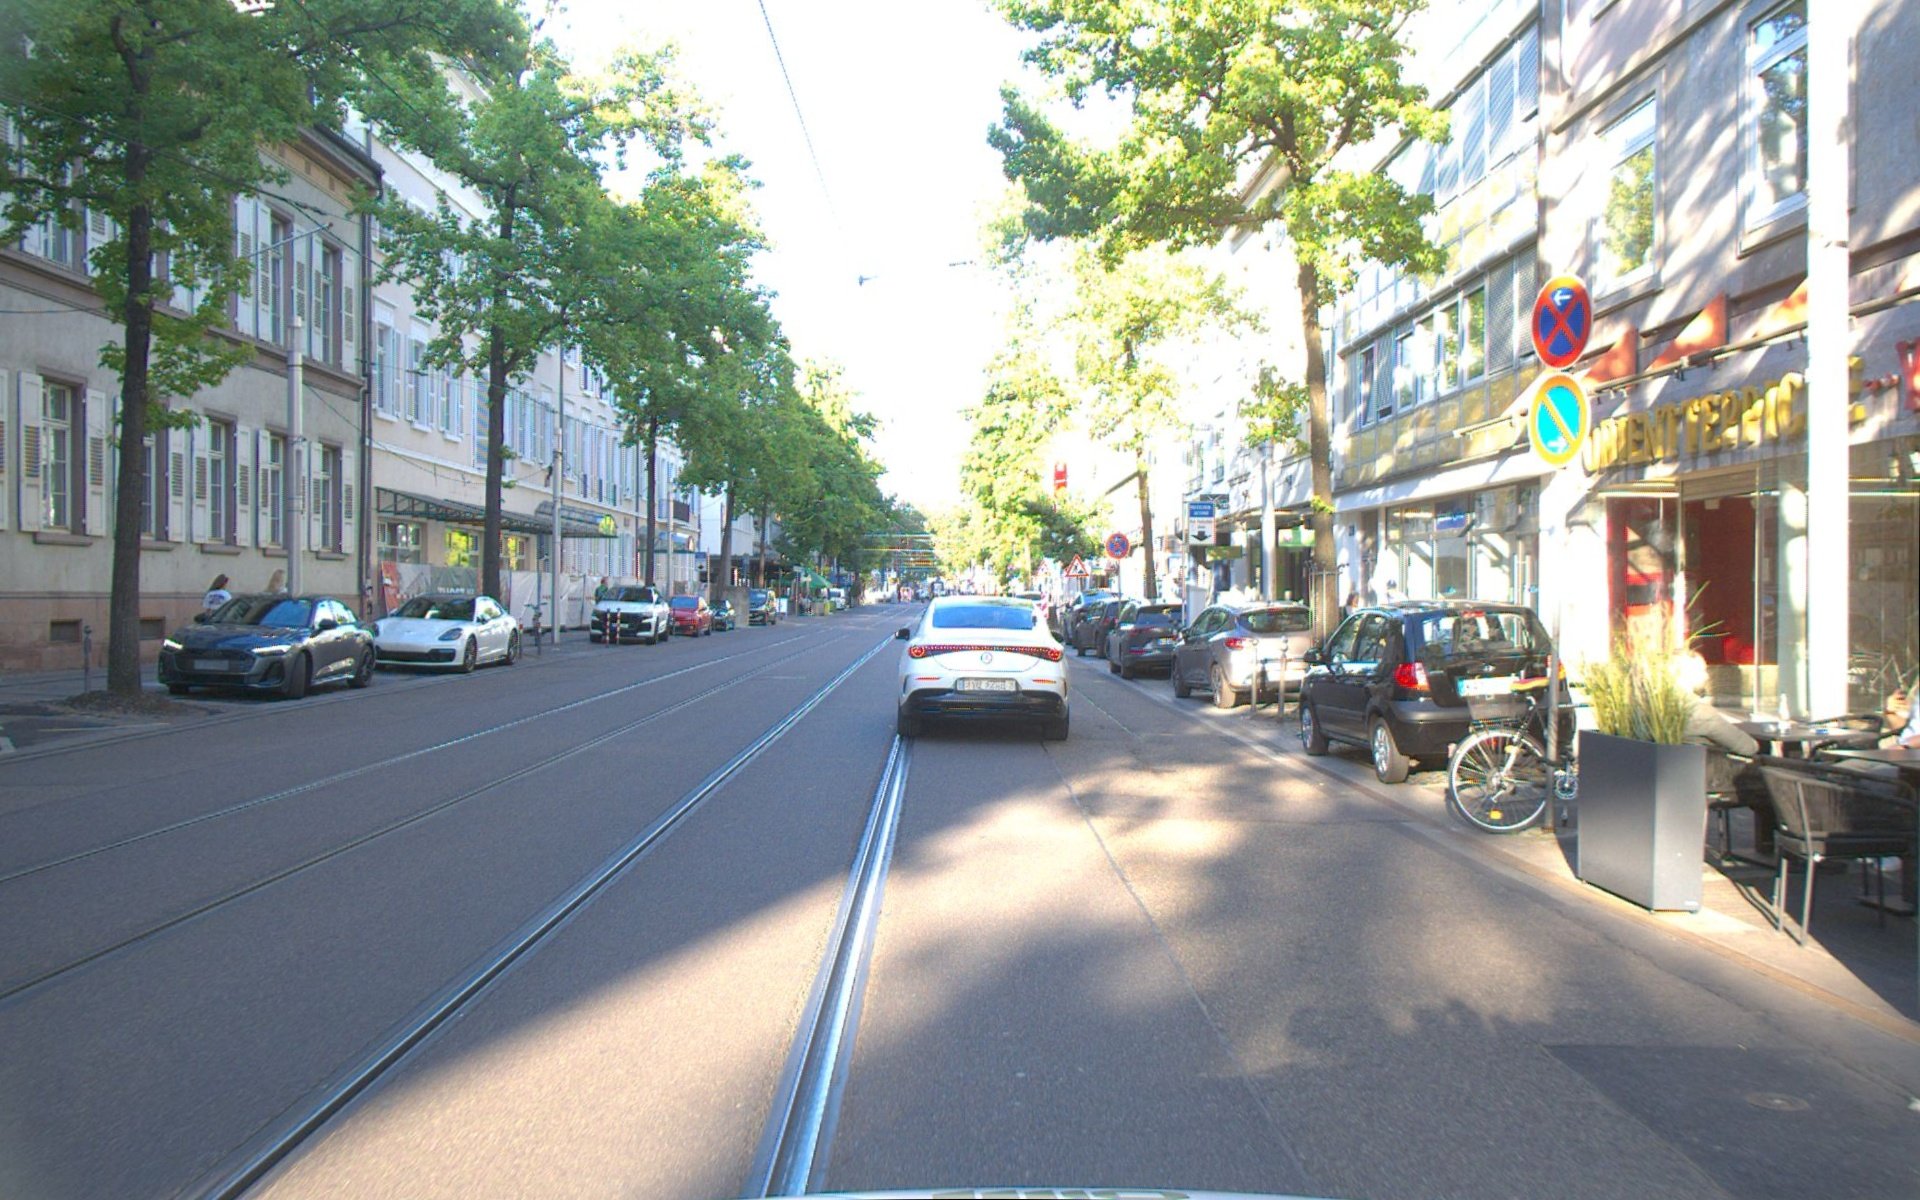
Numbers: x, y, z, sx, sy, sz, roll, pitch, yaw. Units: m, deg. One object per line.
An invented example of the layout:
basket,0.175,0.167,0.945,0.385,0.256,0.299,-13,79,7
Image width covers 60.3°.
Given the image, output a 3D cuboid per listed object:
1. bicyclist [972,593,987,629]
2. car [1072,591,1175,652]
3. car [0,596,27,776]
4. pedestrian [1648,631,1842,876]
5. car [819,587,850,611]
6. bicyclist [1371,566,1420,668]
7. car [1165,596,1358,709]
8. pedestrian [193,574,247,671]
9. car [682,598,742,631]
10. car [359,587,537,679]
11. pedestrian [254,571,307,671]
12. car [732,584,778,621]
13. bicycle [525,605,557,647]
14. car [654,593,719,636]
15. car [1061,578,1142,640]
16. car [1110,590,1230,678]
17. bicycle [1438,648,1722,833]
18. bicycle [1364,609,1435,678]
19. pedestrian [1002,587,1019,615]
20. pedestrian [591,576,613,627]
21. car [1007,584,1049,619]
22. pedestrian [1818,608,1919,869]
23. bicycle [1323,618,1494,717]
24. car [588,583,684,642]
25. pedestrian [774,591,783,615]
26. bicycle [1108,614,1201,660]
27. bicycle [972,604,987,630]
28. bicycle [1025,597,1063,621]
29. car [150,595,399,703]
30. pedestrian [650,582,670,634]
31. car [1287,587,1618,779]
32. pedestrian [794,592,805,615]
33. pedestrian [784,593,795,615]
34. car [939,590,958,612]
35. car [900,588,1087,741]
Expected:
bicyclist,0.940,0.550,80.147,0.710,1.732,0.811,-1,0,0
car,4.104,0.527,42.176,1.802,1.461,3.994,0,0,-7
car,-9.873,0.770,13.336,1.922,1.668,4.812,2,0,0
pedestrian,4.305,0.826,9.110,0.800,1.287,0.586,-1,0,5
car,-11.012,-0.078,145.337,1.951,2.049,4.003,-1,0,8
bicyclist,7.494,0.289,28.477,0.626,1.713,0.599,-1,0,-3
car,4.333,0.700,24.366,1.779,1.512,3.995,0,0,-6
pedestrian,-13.236,0.393,29.604,0.661,1.709,0.647,-1,0,-1
car,-10.450,0.585,69.866,1.953,1.314,3.999,0,0,-1
car,-9.970,0.599,32.613,1.906,1.668,4.909,0,0,1
pedestrian,-12.061,0.362,29.372,0.672,1.751,0.656,0,0,0
car,-10.220,0.107,82.621,1.519,1.827,3.170,-1,0,8
bicycle,-11.222,0.682,44.356,0.582,1.068,2.005,-1,0,-8
car,-10.030,0.510,60.962,1.654,1.525,4.234,0,0,0
car,4.202,0.242,49.856,1.953,1.743,4.865,-1,0,-1
car,4.007,0.608,32.124,1.832,1.478,4.107,-3,0,1
bicycle,4.125,0.938,11.087,1.690,1.158,0.547,-3,0,20
bicycle,7.520,0.727,28.350,0.634,1.093,1.860,-1,0,-2
pedestrian,3.288,0.038,107.141,0.904,1.805,0.870,-1,0,-15
pedestrian,-13.135,0.063,60.658,0.693,1.838,0.675,-1,0,-6
car,3.534,0.065,86.748,1.953,1.758,4.240,-1,0,0
pedestrian,5.415,0.760,9.390,0.702,1.411,0.737,-1,0,-38
bicycle,5.340,0.788,19.724,1.822,1.093,0.710,-2,0,-11
car,-9.907,0.361,50.892,1.921,1.721,5.013,0,0,0
pedestrian,-12.768,0.201,116.377,0.506,1.681,0.650,-1,0,-1
bicycle,4.250,0.804,36.147,1.994,0.981,0.282,-1,0,4
bicycle,0.947,0.824,80.281,0.725,1.209,2.160,-1,0,0
bicycle,3.840,0.414,75.676,1.686,1.080,0.581,-1,0,2
car,-10.035,0.648,24.659,1.923,1.437,4.843,0,0,-3
pedestrian,-12.018,0.319,66.357,0.693,2.039,0.675,-1,0,-4
car,4.372,0.670,15.288,1.764,1.483,3.652,-2,0,-3
pedestrian,-11.017,0.240,113.594,0.511,1.503,0.644,-3,-1,-28
pedestrian,-11.582,0.260,112.320,0.557,1.489,0.650,-1,0,19
car,-1.442,0.093,199.826,1.955,2.586,3.995,0,0,-5
car,0.262,0.634,18.306,1.830,1.494,4.040,0,0,-2
